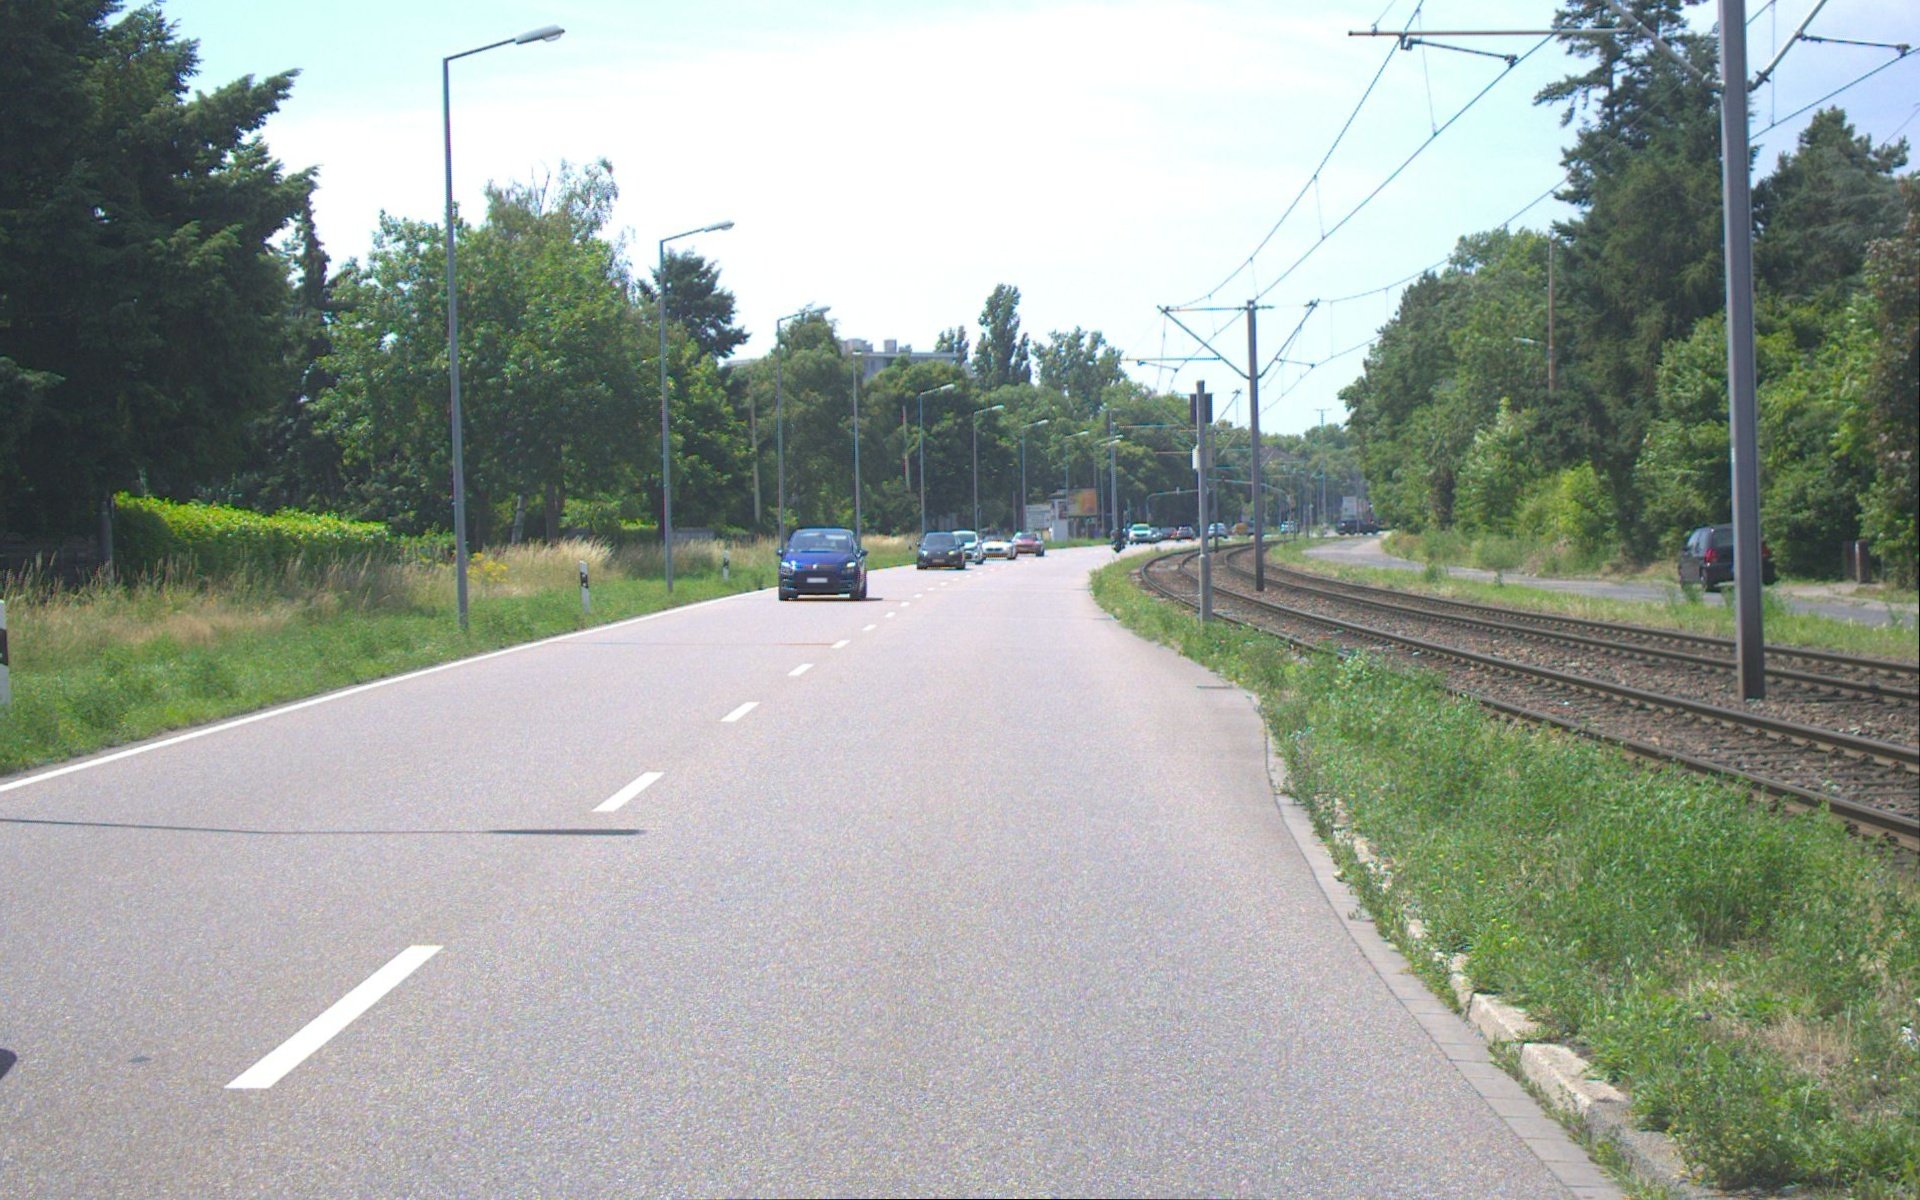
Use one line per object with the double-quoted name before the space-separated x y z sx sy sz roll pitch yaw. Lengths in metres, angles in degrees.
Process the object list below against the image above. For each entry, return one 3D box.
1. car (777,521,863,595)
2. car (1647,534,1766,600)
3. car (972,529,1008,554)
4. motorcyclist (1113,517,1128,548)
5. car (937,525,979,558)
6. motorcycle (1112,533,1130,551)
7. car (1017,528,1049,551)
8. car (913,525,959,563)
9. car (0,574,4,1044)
"car" -3.143 -0.960 77.815 1.747 1.626 4.030 0 1 1
"car" 16.860 -0.763 77.781 1.914 1.465 4.000 0 1 1
"car" 1.526 -2.959 173.981 1.682 1.245 3.909 0 1 2
"motorcyclist" 9.996 -4.192 214.078 0.892 1.898 1.015 0 1 6
"car" -0.075 -2.630 154.439 1.747 1.498 3.707 0 1 2
"motorcycle" 10.024 -3.613 214.197 0.970 1.113 2.732 0 1 6
"car" 4.085 -3.379 192.257 1.749 1.296 4.253 0 1 2
"car" -0.955 -2.244 137.357 1.700 1.486 4.440 0 1 1
"car" -3.702 0.661 7.877 1.706 1.399 4.708 0 1 0
